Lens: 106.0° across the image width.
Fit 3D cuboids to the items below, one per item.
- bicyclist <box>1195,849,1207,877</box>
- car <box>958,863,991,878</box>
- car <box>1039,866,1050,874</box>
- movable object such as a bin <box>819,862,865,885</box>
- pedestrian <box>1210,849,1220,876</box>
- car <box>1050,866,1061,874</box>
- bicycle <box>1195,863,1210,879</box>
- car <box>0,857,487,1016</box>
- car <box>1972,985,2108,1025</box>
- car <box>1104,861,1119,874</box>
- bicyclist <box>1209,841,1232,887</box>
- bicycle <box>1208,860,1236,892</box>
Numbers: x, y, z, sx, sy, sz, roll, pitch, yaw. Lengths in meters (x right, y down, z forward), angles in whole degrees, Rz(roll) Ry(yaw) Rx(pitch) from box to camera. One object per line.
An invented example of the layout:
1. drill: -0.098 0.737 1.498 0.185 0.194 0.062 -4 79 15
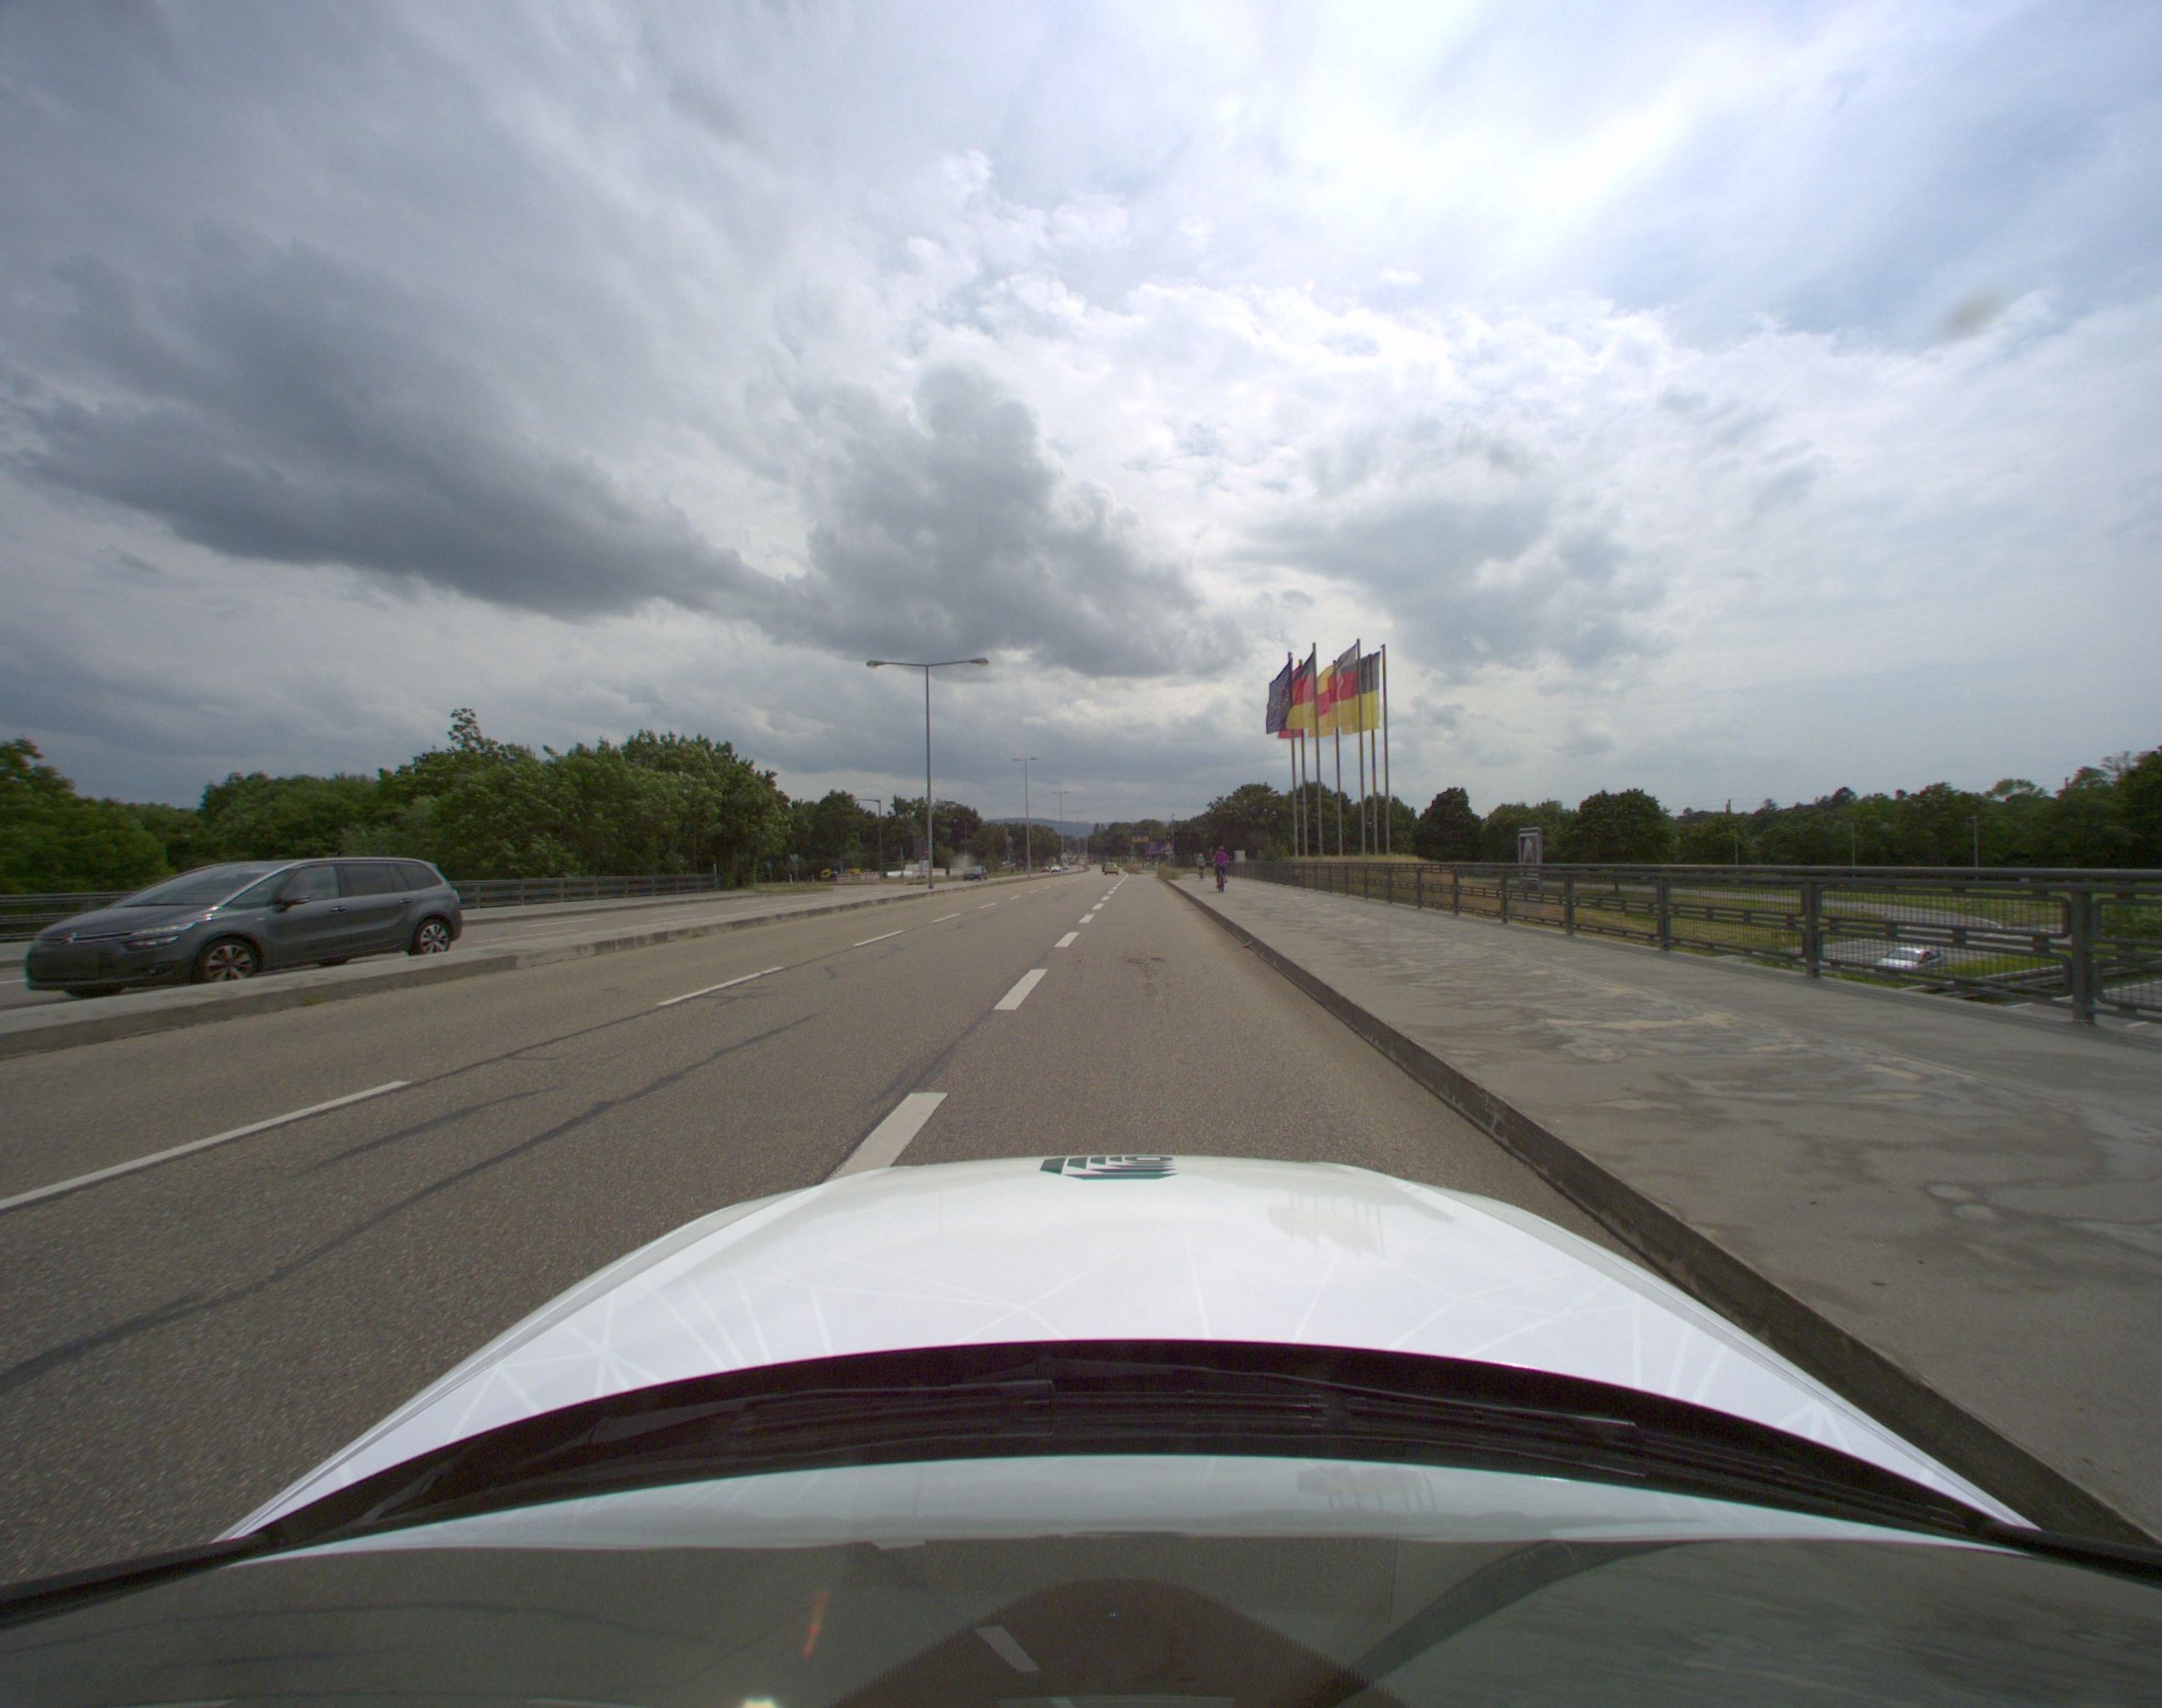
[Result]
1. bicyclist: 7.348 0.557 49.789 0.619 1.666 0.669 -1 0 1
2. car: -10.266 1.583 78.821 1.983 1.373 4.586 -3 -1 7
3. car: -8.368 3.669 187.373 1.985 1.882 4.003 3 -1 4
4. movable object such as a bin: -26.689 2.161 91.000 4.575 2.397 1.995 -1 0 -8
5. pedestrian: 9.861 0.621 59.879 0.624 2.013 0.668 -1 0 3
6. car: -5.235 3.293 168.296 1.687 1.629 4.388 -1 1 4
7. bicycle: 7.339 1.047 49.361 0.621 0.888 2.155 -1 1 2
8. car: -11.039 0.922 11.286 1.985 1.640 4.665 -1 1 3
9. car: 40.153 6.292 34.155 3.988 1.237 1.993 1 0 -11
10. car: 3.830 1.715 103.048 1.787 1.562 4.001 -1 1 1
11. bicyclist: 5.479 0.379 32.055 0.700 1.755 0.992 -1 0 2
12. bicycle: 5.542 0.851 32.145 0.691 1.192 2.462 -2 0 2
